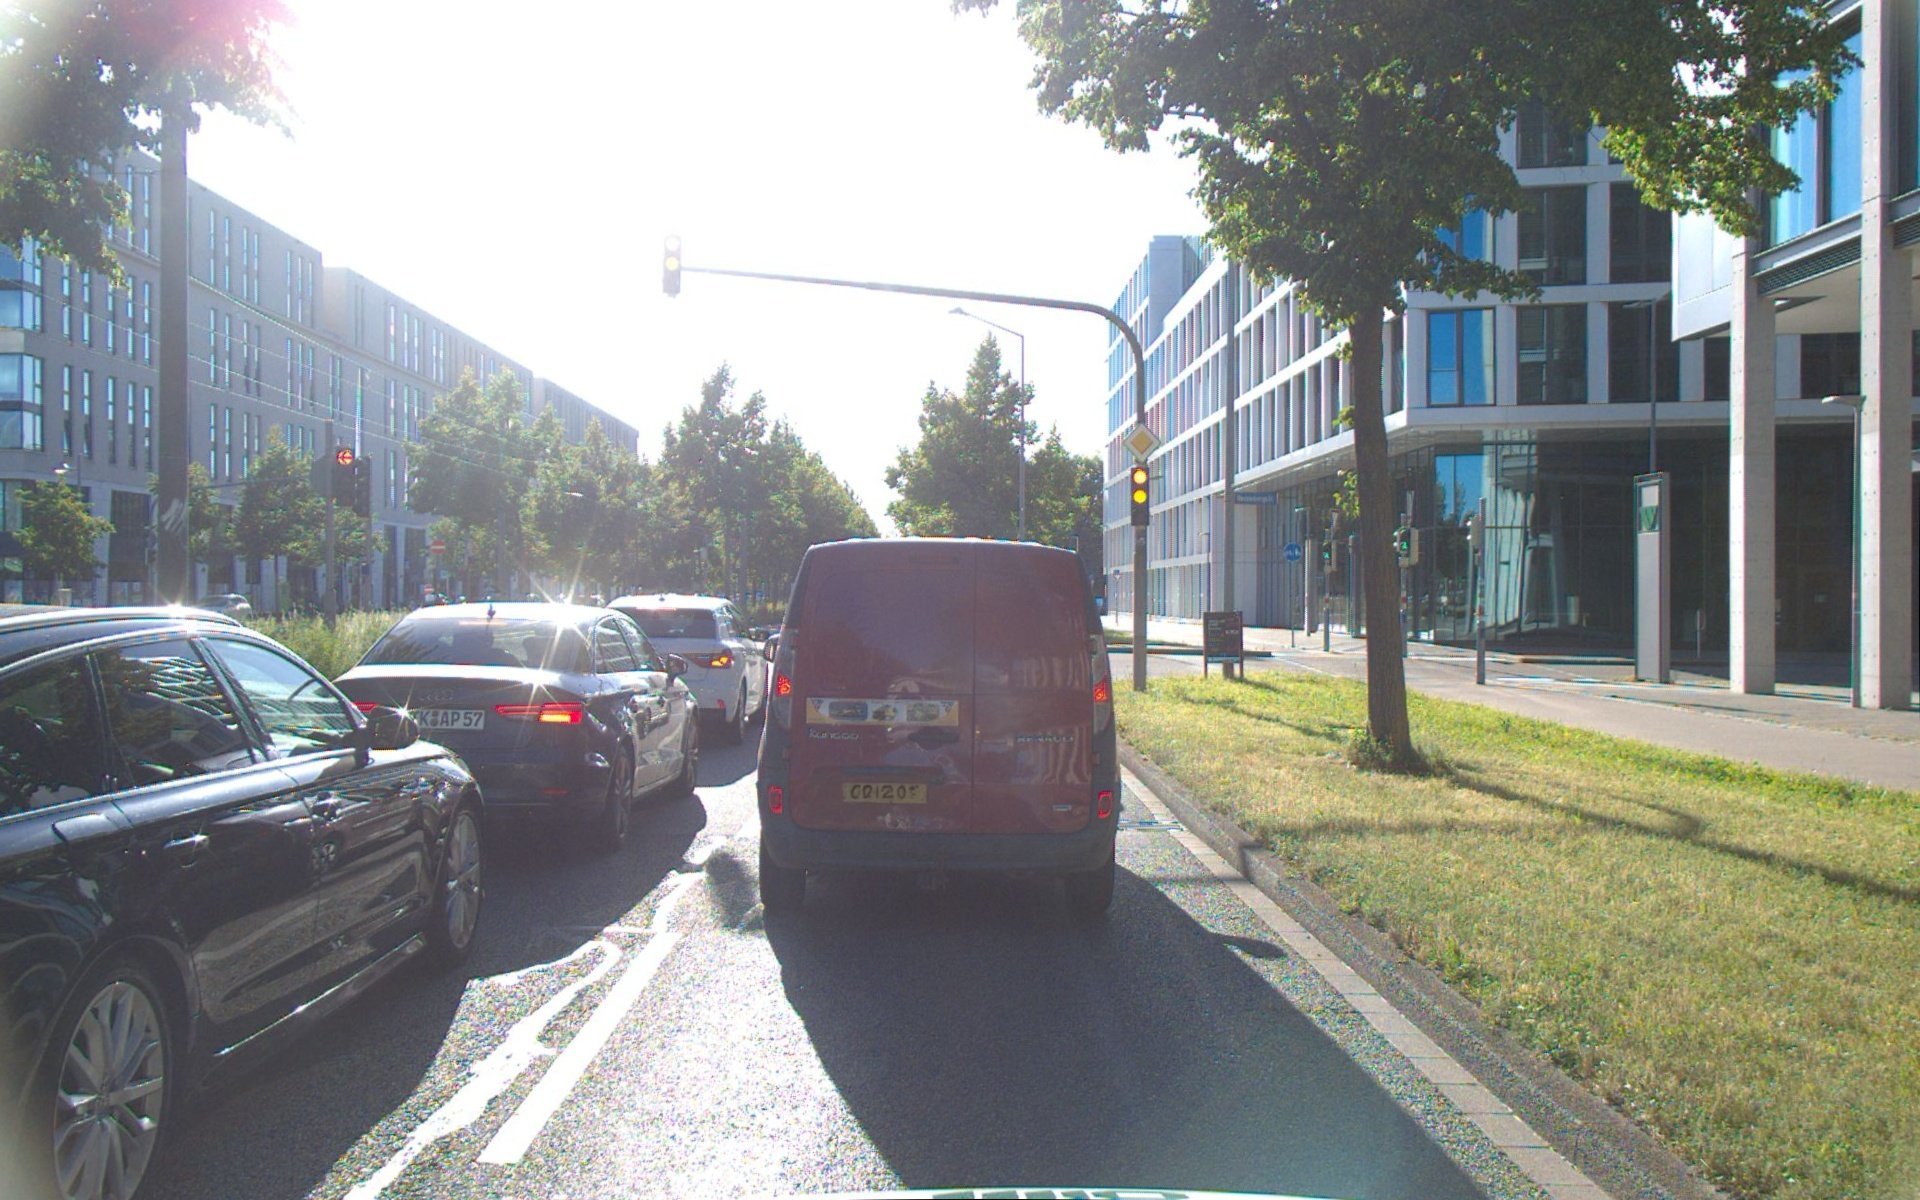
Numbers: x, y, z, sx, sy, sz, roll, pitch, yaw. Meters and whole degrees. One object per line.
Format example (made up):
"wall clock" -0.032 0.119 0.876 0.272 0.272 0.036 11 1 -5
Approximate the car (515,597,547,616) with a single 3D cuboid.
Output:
"car" -35.231 0.533 135.997 1.740 1.555 3.805 0 0 -1

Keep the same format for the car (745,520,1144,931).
"car" -0.069 0.549 9.409 1.771 1.825 4.113 0 0 0

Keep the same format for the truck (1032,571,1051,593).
"truck" 9.766 -2.198 198.898 1.794 2.545 5.930 0 0 -1

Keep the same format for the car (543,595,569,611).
"car" -36.300 0.279 148.735 1.548 1.366 3.711 0 0 -1

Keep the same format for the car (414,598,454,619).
"car" -35.166 0.559 110.593 1.548 1.366 3.711 0 0 -1

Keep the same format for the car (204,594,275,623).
"car" -34.549 0.397 79.398 1.548 1.366 4.470 0 0 -1

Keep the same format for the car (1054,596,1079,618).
"car" 8.212 0.537 127.976 1.722 1.640 3.903 0 0 0

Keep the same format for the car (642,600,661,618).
"car" -37.020 1.092 198.611 1.694 2.049 3.998 0 0 -3

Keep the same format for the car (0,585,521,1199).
"car" -2.735 0.701 4.839 1.771 1.482 4.507 0 0 -1

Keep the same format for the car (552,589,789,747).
"car" -2.908 0.624 17.443 1.771 1.460 4.113 0 0 0

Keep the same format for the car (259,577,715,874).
"car" -2.787 0.651 10.739 1.771 1.554 4.113 0 0 0
